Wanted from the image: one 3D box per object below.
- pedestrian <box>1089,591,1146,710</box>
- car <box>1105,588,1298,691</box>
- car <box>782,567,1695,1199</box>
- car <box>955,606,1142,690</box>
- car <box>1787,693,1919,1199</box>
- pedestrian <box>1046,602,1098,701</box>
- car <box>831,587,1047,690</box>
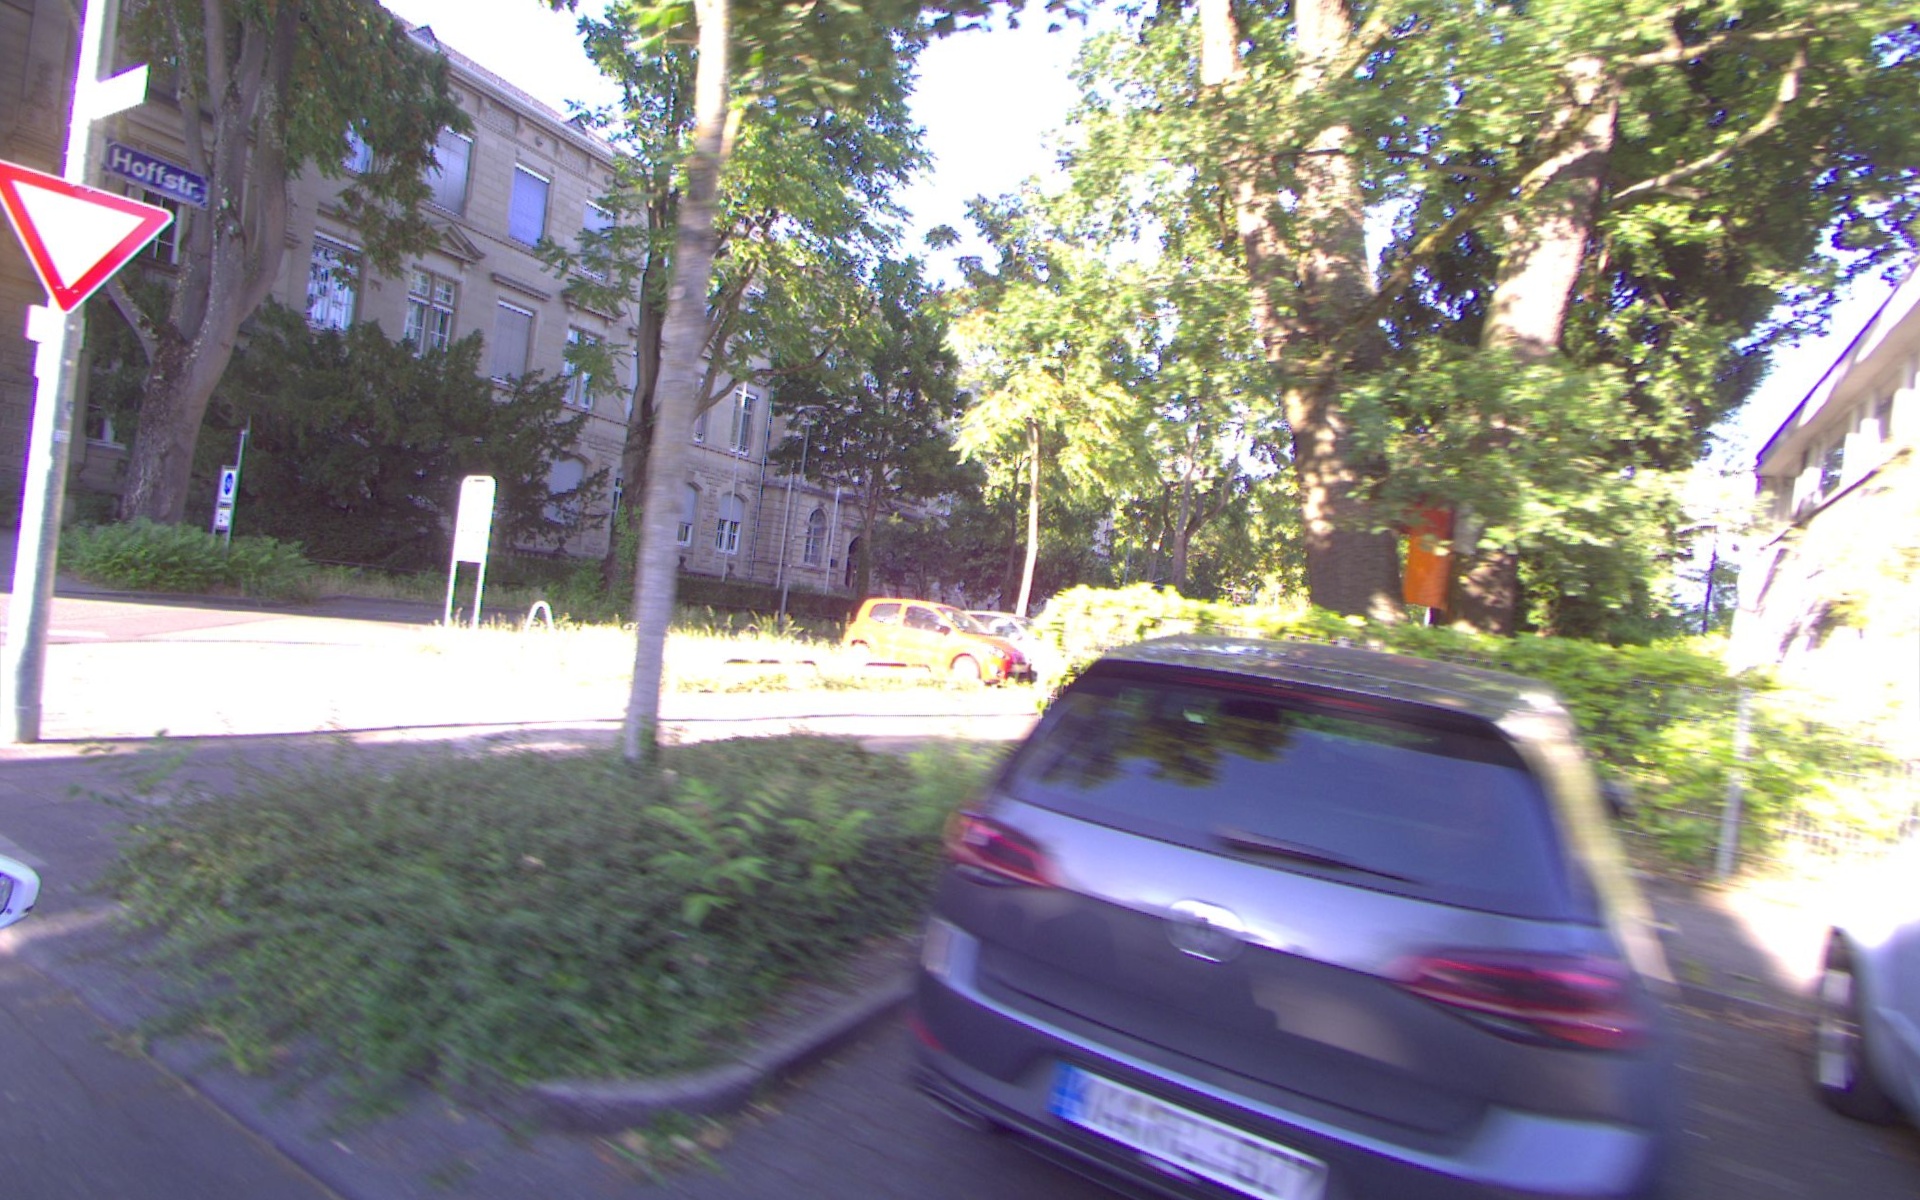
[{"bbox_3d":[2.488,0.804,15.879,0.429,1.796,0.664,7,0,35],"label":"pedestrian"},{"bbox_3d":[8.246,1.323,34.569,5.809,2.733,2.217,7,0,29],"label":"car"},{"bbox_3d":[1.376,0.882,3.655,1.618,1.535,3.990,7,1,32],"label":"car"},{"bbox_3d":[2.106,1.139,24.120,3.989,1.437,1.716,7,0,29],"label":"car"},{"bbox_3d":[3.335,1.126,2.171,1.609,1.510,3.350,7,1,28],"label":"car"},{"bbox_3d":[1.899,0.873,17.016,0.429,1.600,0.664,7,0,35],"label":"pedestrian"},{"bbox_3d":[-0.414,0.719,19.158,3.616,1.437,1.716,7,0,29],"label":"car"}]
